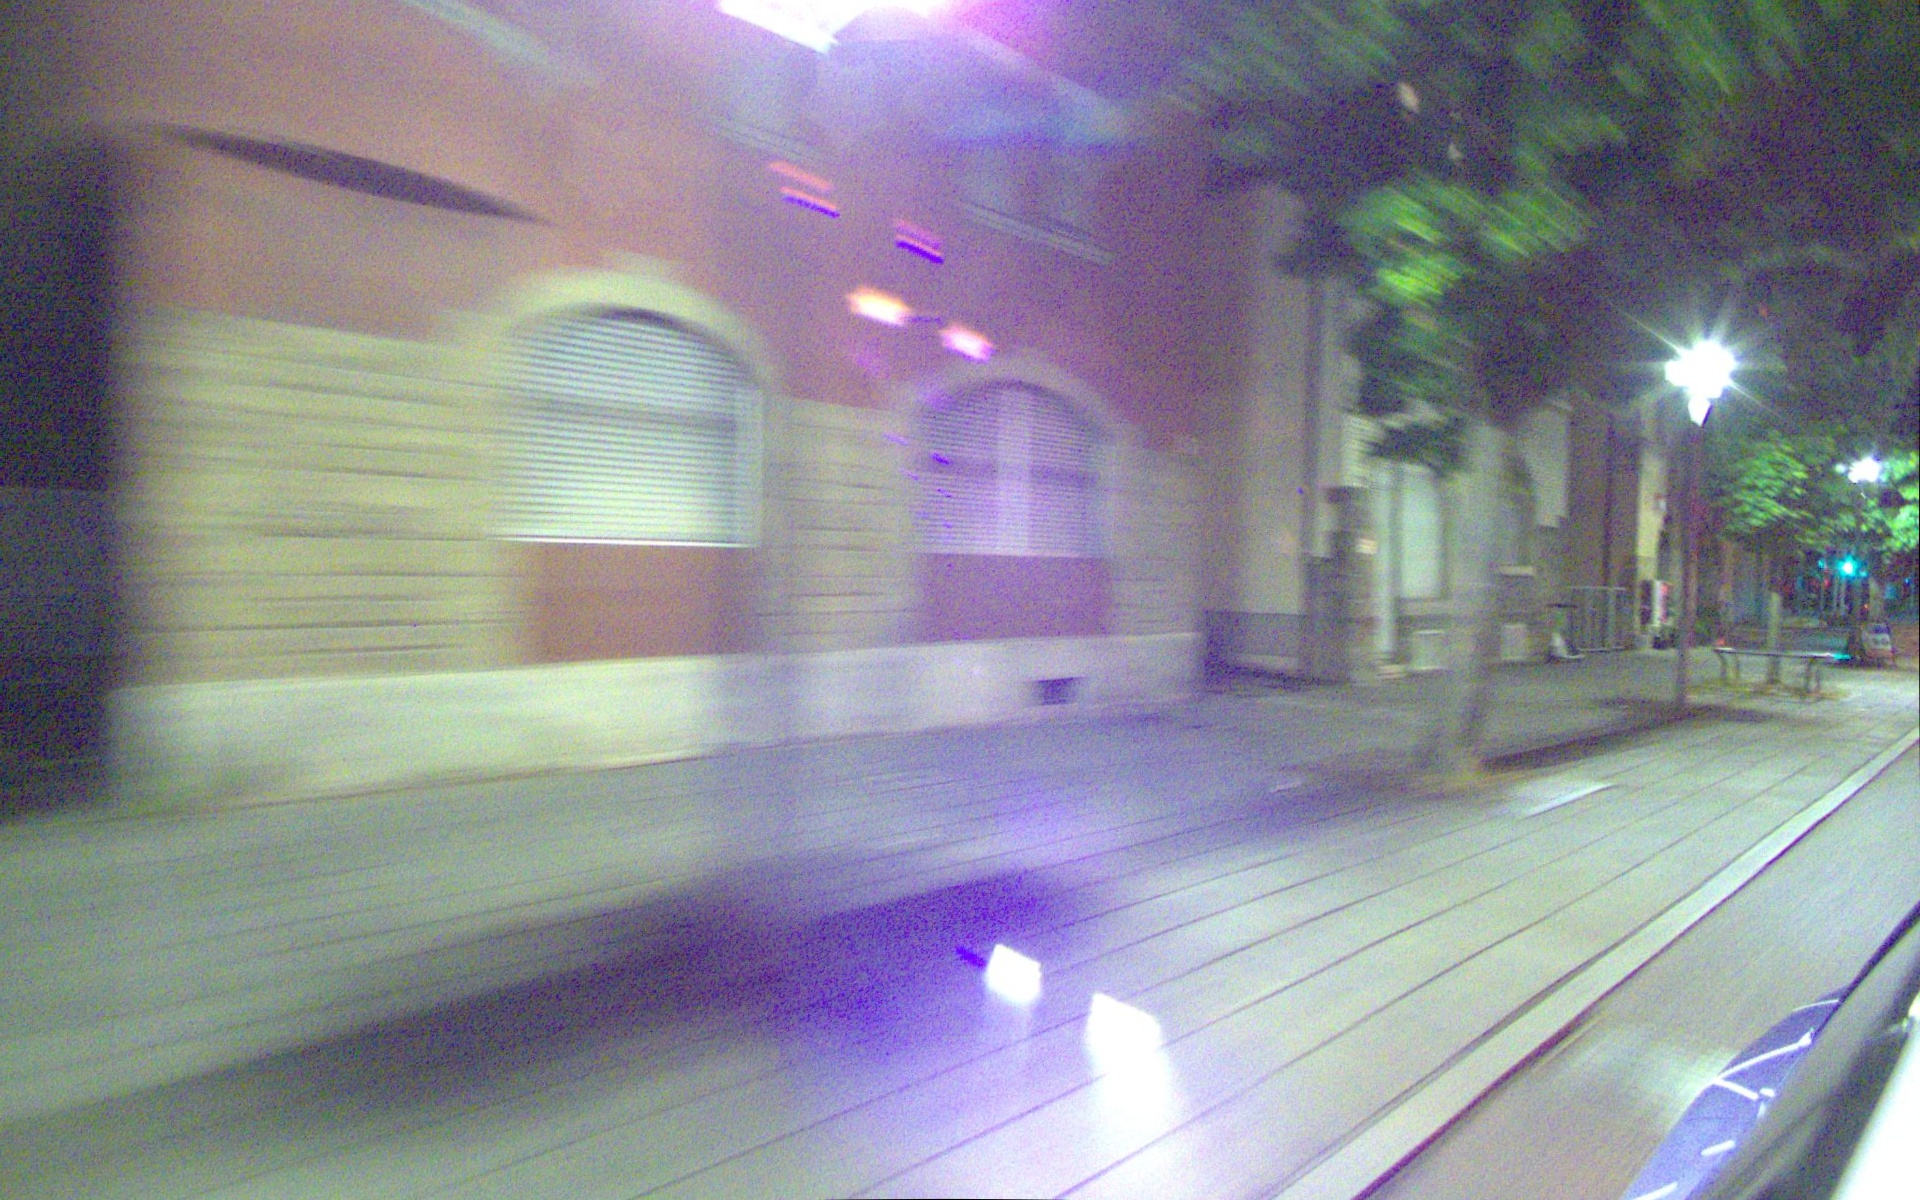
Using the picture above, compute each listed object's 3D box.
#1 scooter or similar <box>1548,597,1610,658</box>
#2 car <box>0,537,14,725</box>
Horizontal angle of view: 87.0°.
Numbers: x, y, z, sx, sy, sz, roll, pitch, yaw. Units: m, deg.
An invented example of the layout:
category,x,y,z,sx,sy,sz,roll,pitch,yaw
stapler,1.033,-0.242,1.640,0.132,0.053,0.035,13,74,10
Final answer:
category,x,y,z,sx,sy,sz,roll,pitch,yaw
scooter or similar,12.076,0.517,19.732,1.464,1.144,0.423,0,2,-34
car,-7.229,0.318,6.000,1.755,1.477,4.443,1,2,-35
